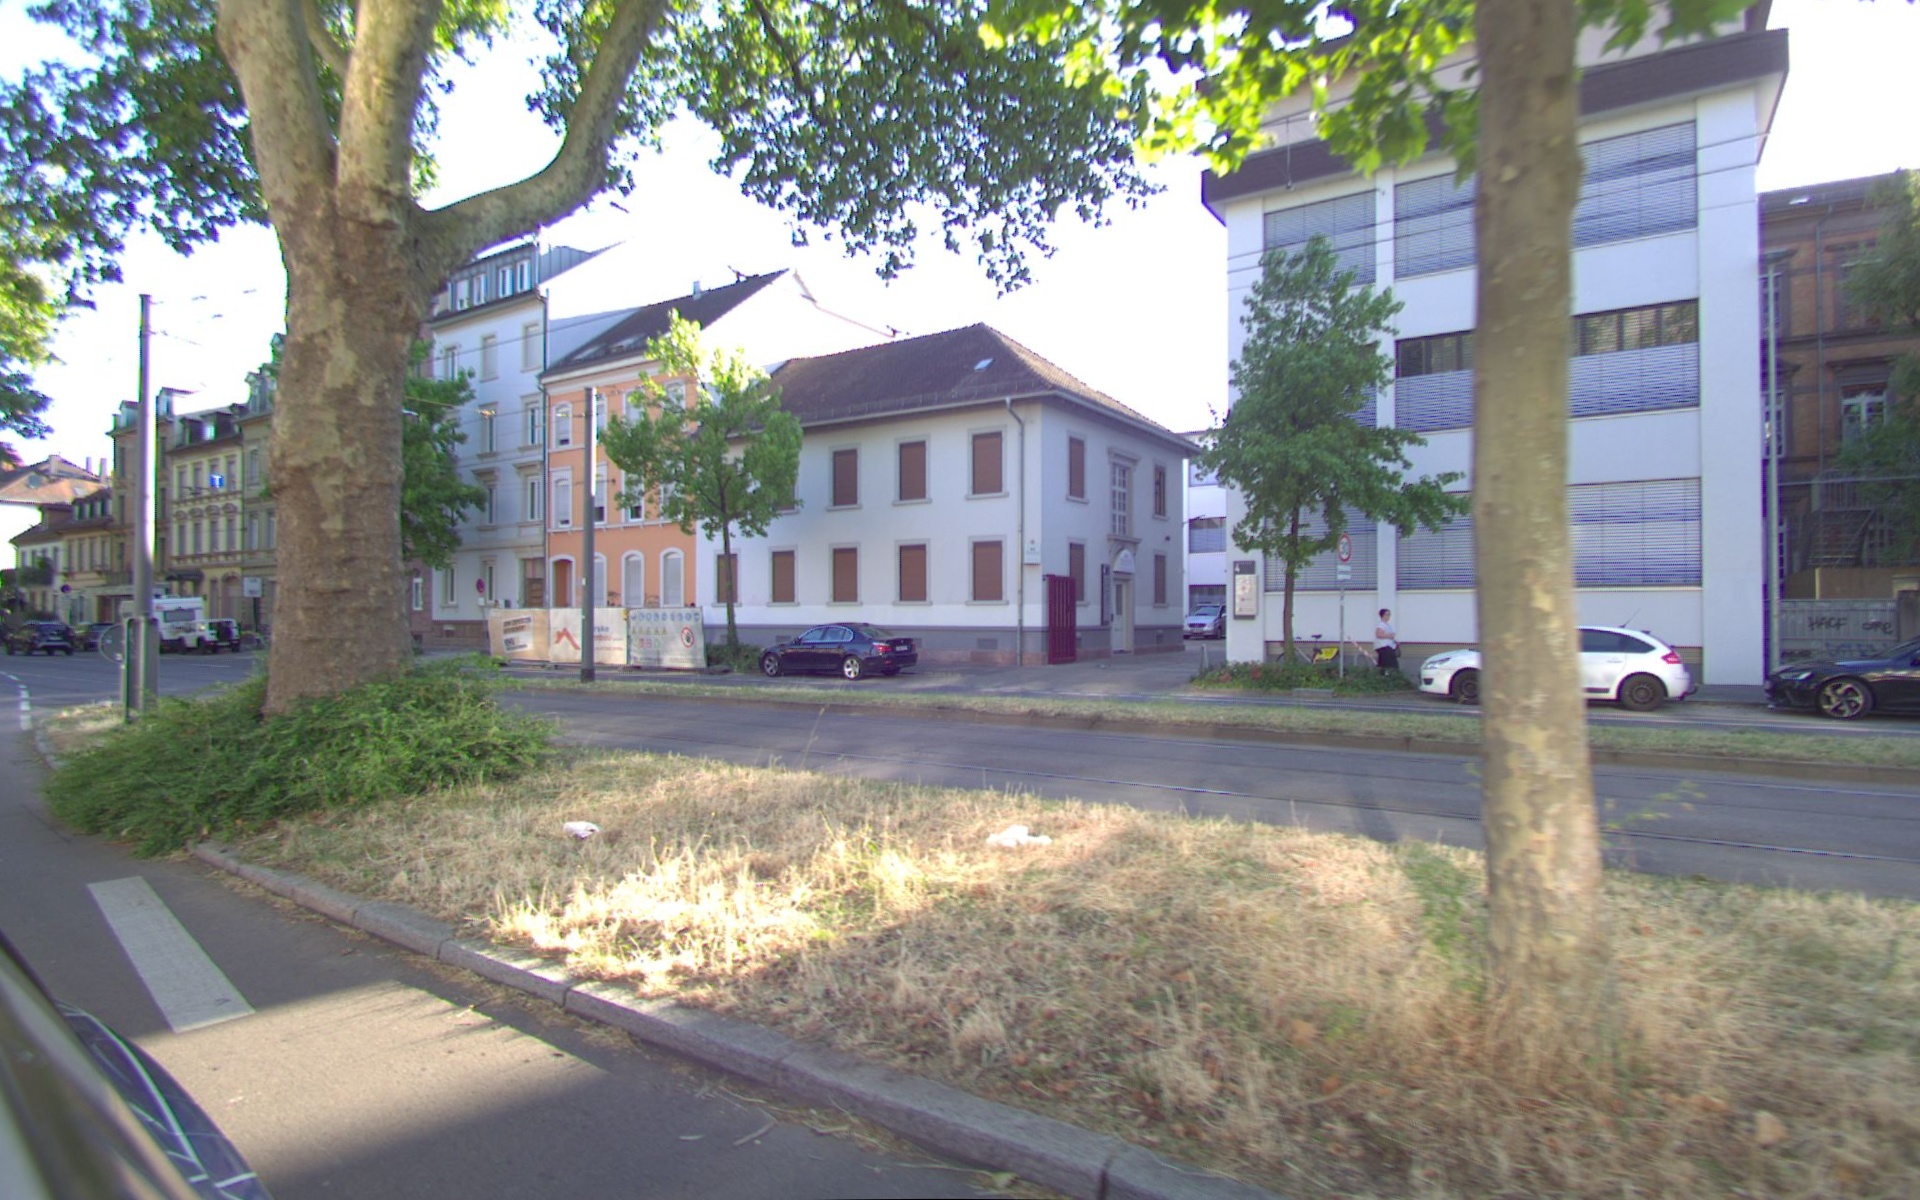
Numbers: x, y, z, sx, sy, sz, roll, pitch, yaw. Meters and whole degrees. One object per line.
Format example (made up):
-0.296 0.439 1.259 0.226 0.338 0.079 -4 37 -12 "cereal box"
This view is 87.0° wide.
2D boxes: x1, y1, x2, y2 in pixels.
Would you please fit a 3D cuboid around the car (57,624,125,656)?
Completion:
-50.326 2.291 58.585 4.430 1.718 1.796 -1 2 33 "car"

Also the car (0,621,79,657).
-44.821 1.879 49.136 4.296 1.702 1.978 -1 -2 32 "car"

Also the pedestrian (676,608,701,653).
-9.676 1.080 36.128 0.637 1.582 0.589 -1 -2 32 "pedestrian"

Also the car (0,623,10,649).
-66.997 2.527 69.528 3.616 1.759 1.710 -1 2 35 "car"

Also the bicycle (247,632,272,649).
-38.354 2.223 55.435 1.788 0.931 0.573 -1 -2 36 "bicycle"

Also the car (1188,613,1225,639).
12.708 1.363 52.115 1.474 1.307 3.279 -1 -2 21 "car"

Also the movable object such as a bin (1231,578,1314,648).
14.856 0.542 47.852 2.280 3.025 6.052 -1 1 32 "movable object such as a bin"

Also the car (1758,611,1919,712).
15.282 0.921 15.441 4.635 1.487 1.978 -1 -2 33 "car"

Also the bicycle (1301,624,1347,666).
8.918 1.092 24.793 1.015 1.010 0.300 -1 -2 33 "bicycle"

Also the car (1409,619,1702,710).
10.742 1.100 18.524 4.391 1.482 1.978 -1 -2 33 "car"

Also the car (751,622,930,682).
-3.295 1.365 27.594 4.711 1.525 1.977 -1 -2 33 "car"

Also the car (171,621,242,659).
-37.240 1.971 49.992 3.359 1.718 1.619 -1 1 31 "car"

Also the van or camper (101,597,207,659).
-42.538 1.450 53.342 7.234 2.969 2.399 -1 2 35 "van or camper"

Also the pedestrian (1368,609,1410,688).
9.093 1.021 21.447 0.729 1.633 0.630 -1 -1 30 "pedestrian"
